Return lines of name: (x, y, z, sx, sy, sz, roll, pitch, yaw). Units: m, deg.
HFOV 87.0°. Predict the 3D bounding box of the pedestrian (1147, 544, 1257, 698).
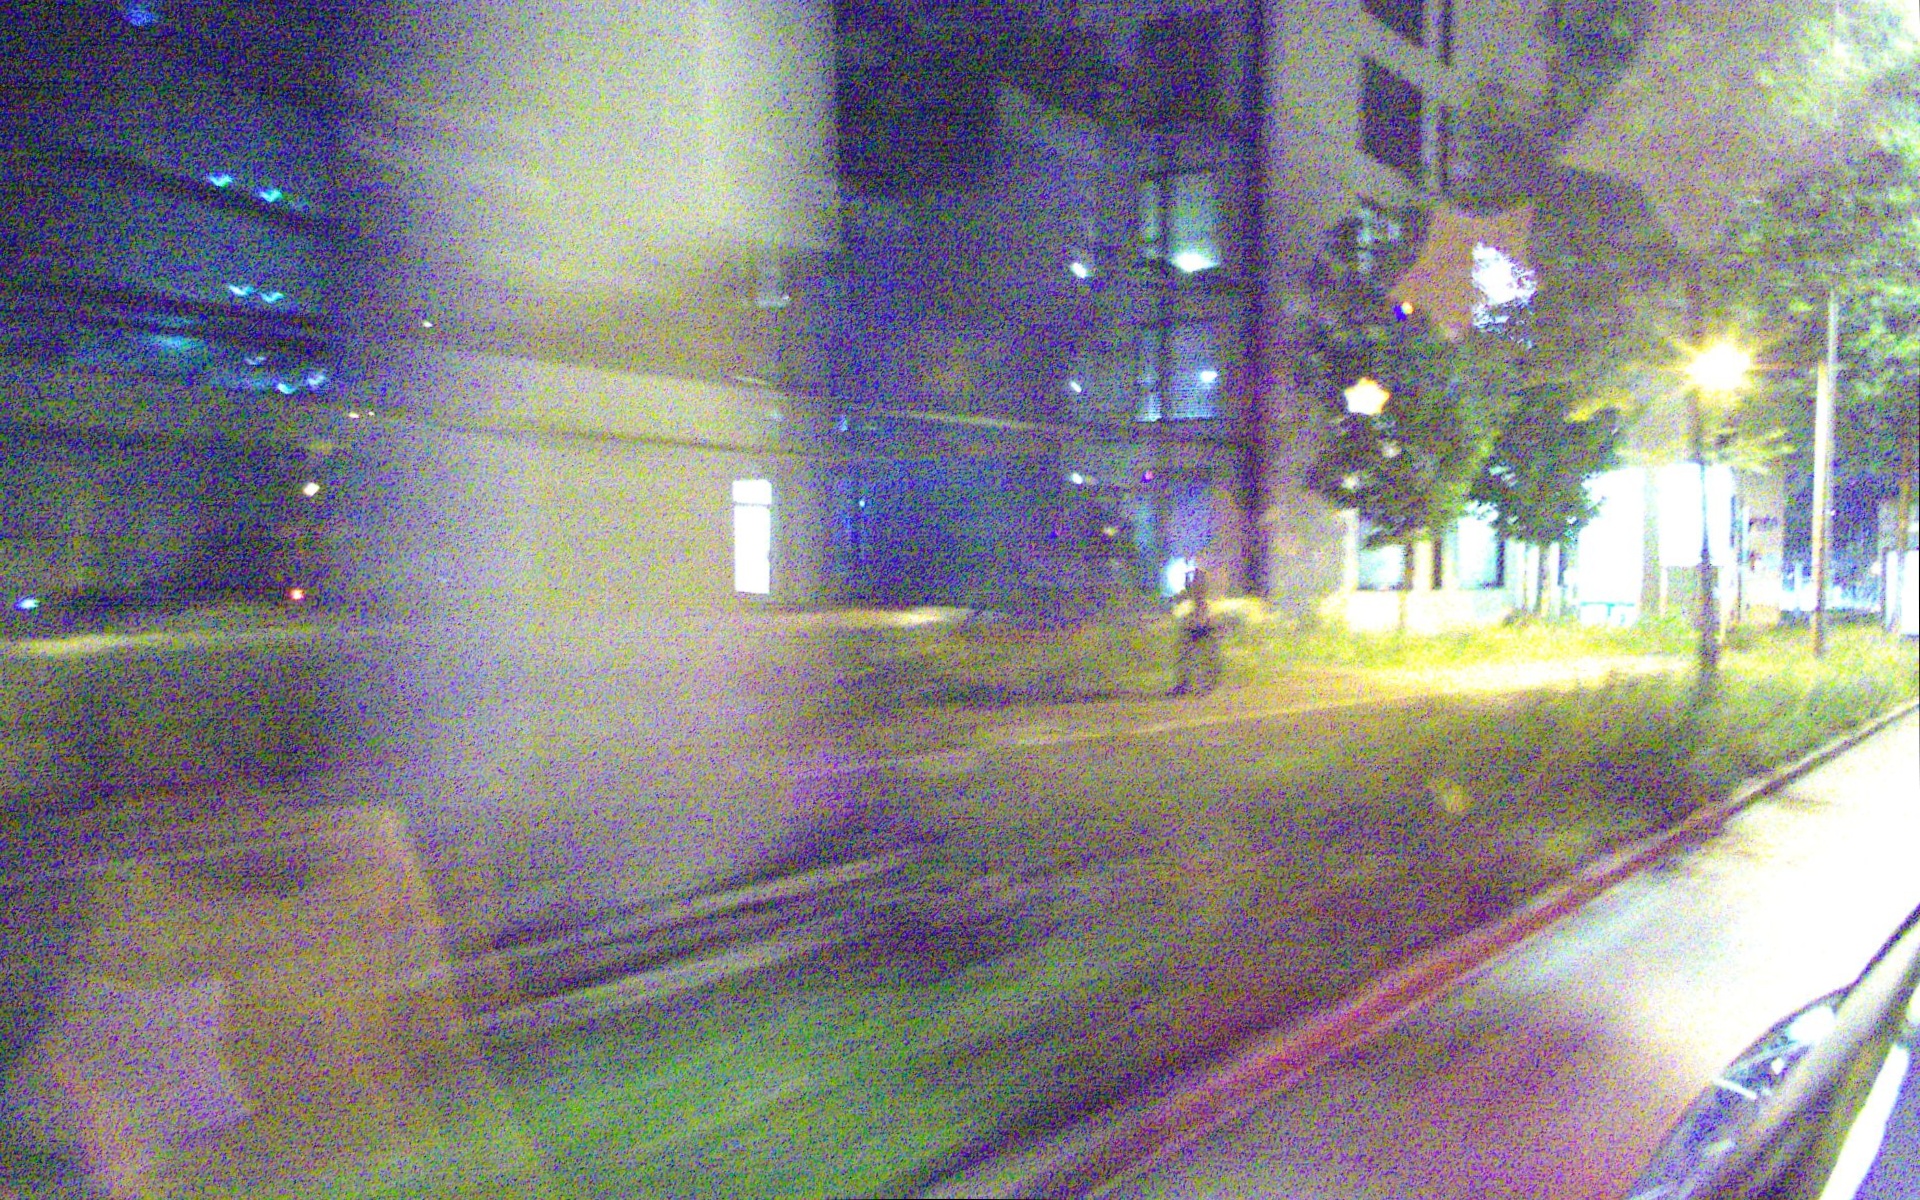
pedestrian: (2.868, 0.216, 12.016, 0.940, 1.728, 0.854, 0, 2, -40)
